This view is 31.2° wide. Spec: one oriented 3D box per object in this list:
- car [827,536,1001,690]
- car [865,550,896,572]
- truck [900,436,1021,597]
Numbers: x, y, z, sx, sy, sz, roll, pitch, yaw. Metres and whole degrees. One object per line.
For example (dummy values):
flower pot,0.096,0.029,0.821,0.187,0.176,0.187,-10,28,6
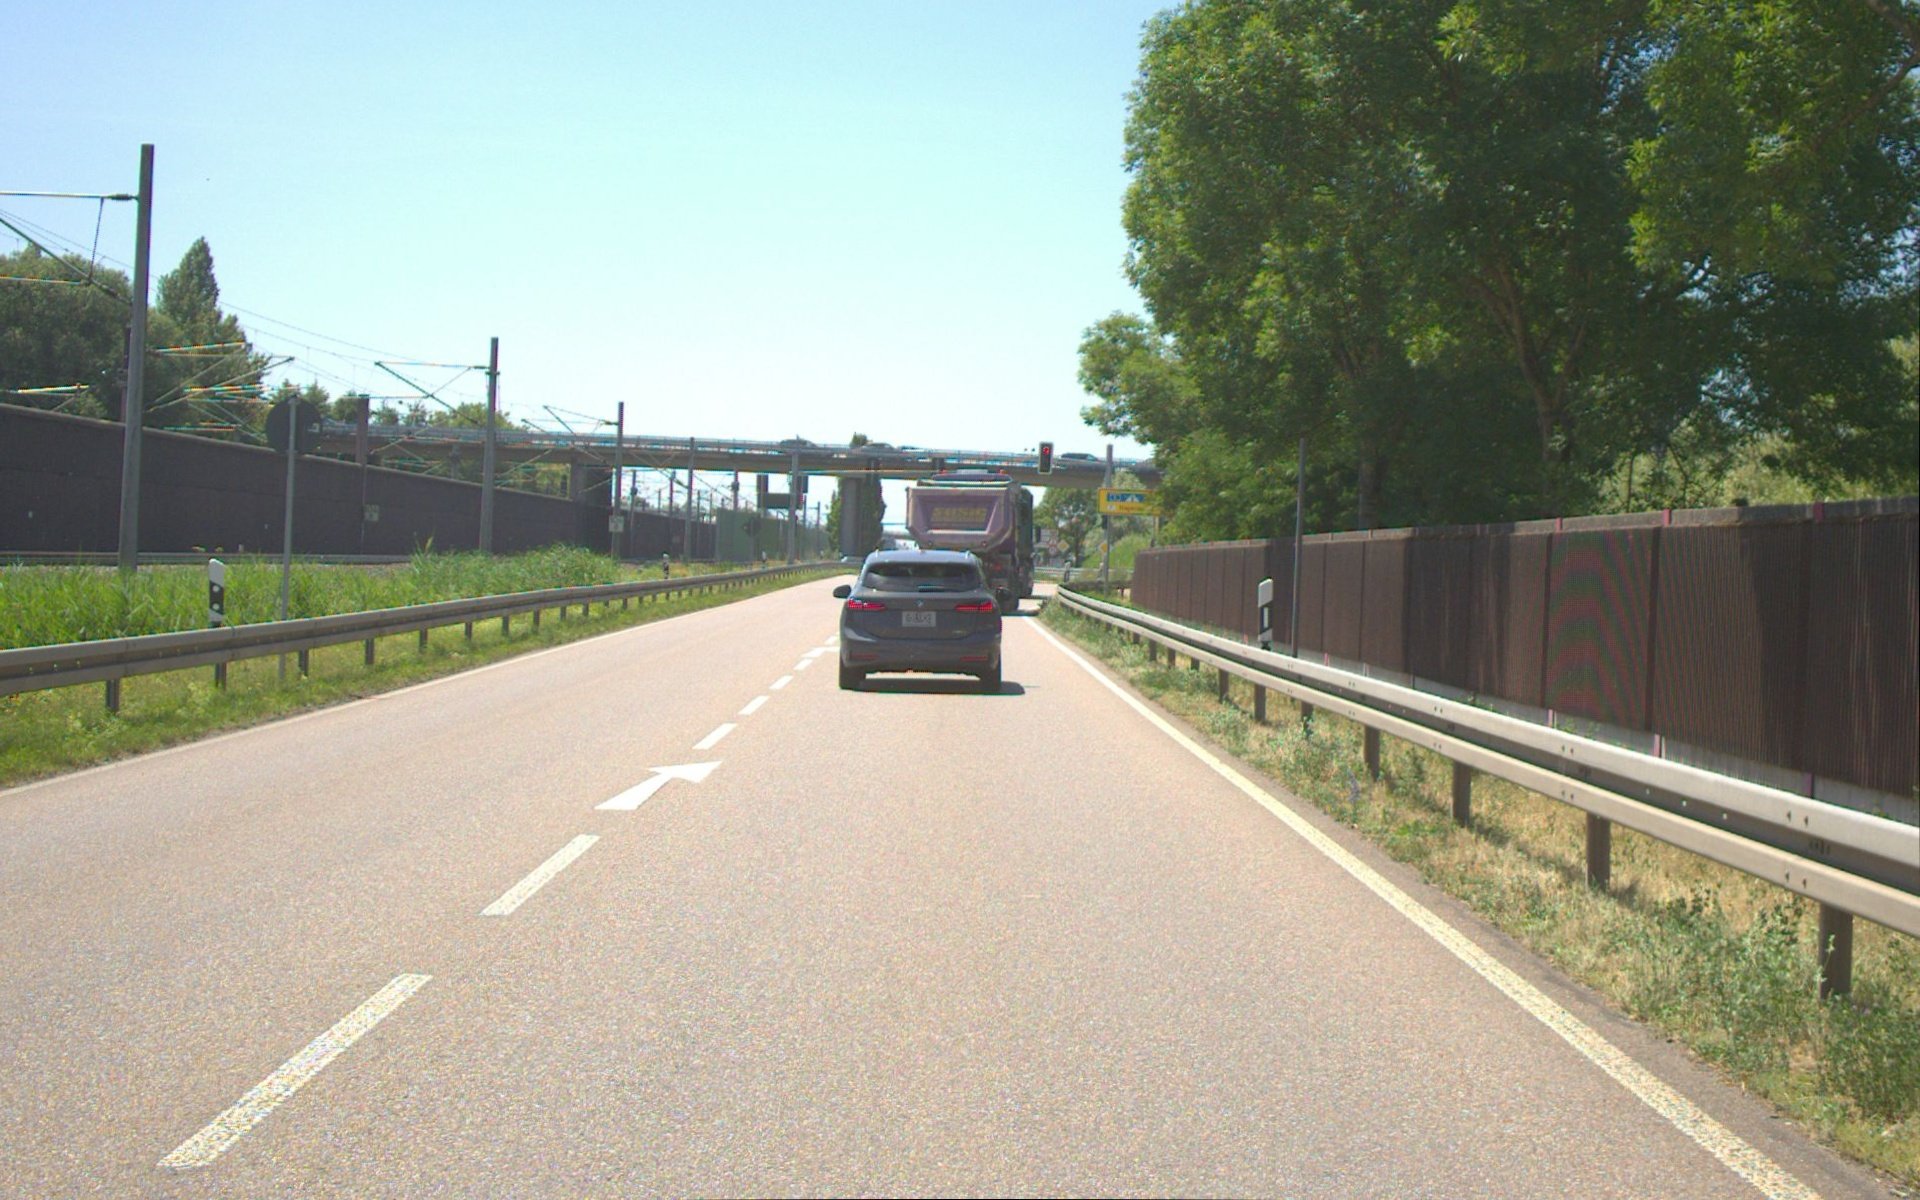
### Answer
car,-0.540,0.109,39.392,1.844,1.617,4.226,1,1,-1
car,-5.461,-2.684,235.636,1.864,1.480,4.888,1,1,-4
truck,0.113,-2.091,88.983,2.833,3.808,11.885,2,1,1
